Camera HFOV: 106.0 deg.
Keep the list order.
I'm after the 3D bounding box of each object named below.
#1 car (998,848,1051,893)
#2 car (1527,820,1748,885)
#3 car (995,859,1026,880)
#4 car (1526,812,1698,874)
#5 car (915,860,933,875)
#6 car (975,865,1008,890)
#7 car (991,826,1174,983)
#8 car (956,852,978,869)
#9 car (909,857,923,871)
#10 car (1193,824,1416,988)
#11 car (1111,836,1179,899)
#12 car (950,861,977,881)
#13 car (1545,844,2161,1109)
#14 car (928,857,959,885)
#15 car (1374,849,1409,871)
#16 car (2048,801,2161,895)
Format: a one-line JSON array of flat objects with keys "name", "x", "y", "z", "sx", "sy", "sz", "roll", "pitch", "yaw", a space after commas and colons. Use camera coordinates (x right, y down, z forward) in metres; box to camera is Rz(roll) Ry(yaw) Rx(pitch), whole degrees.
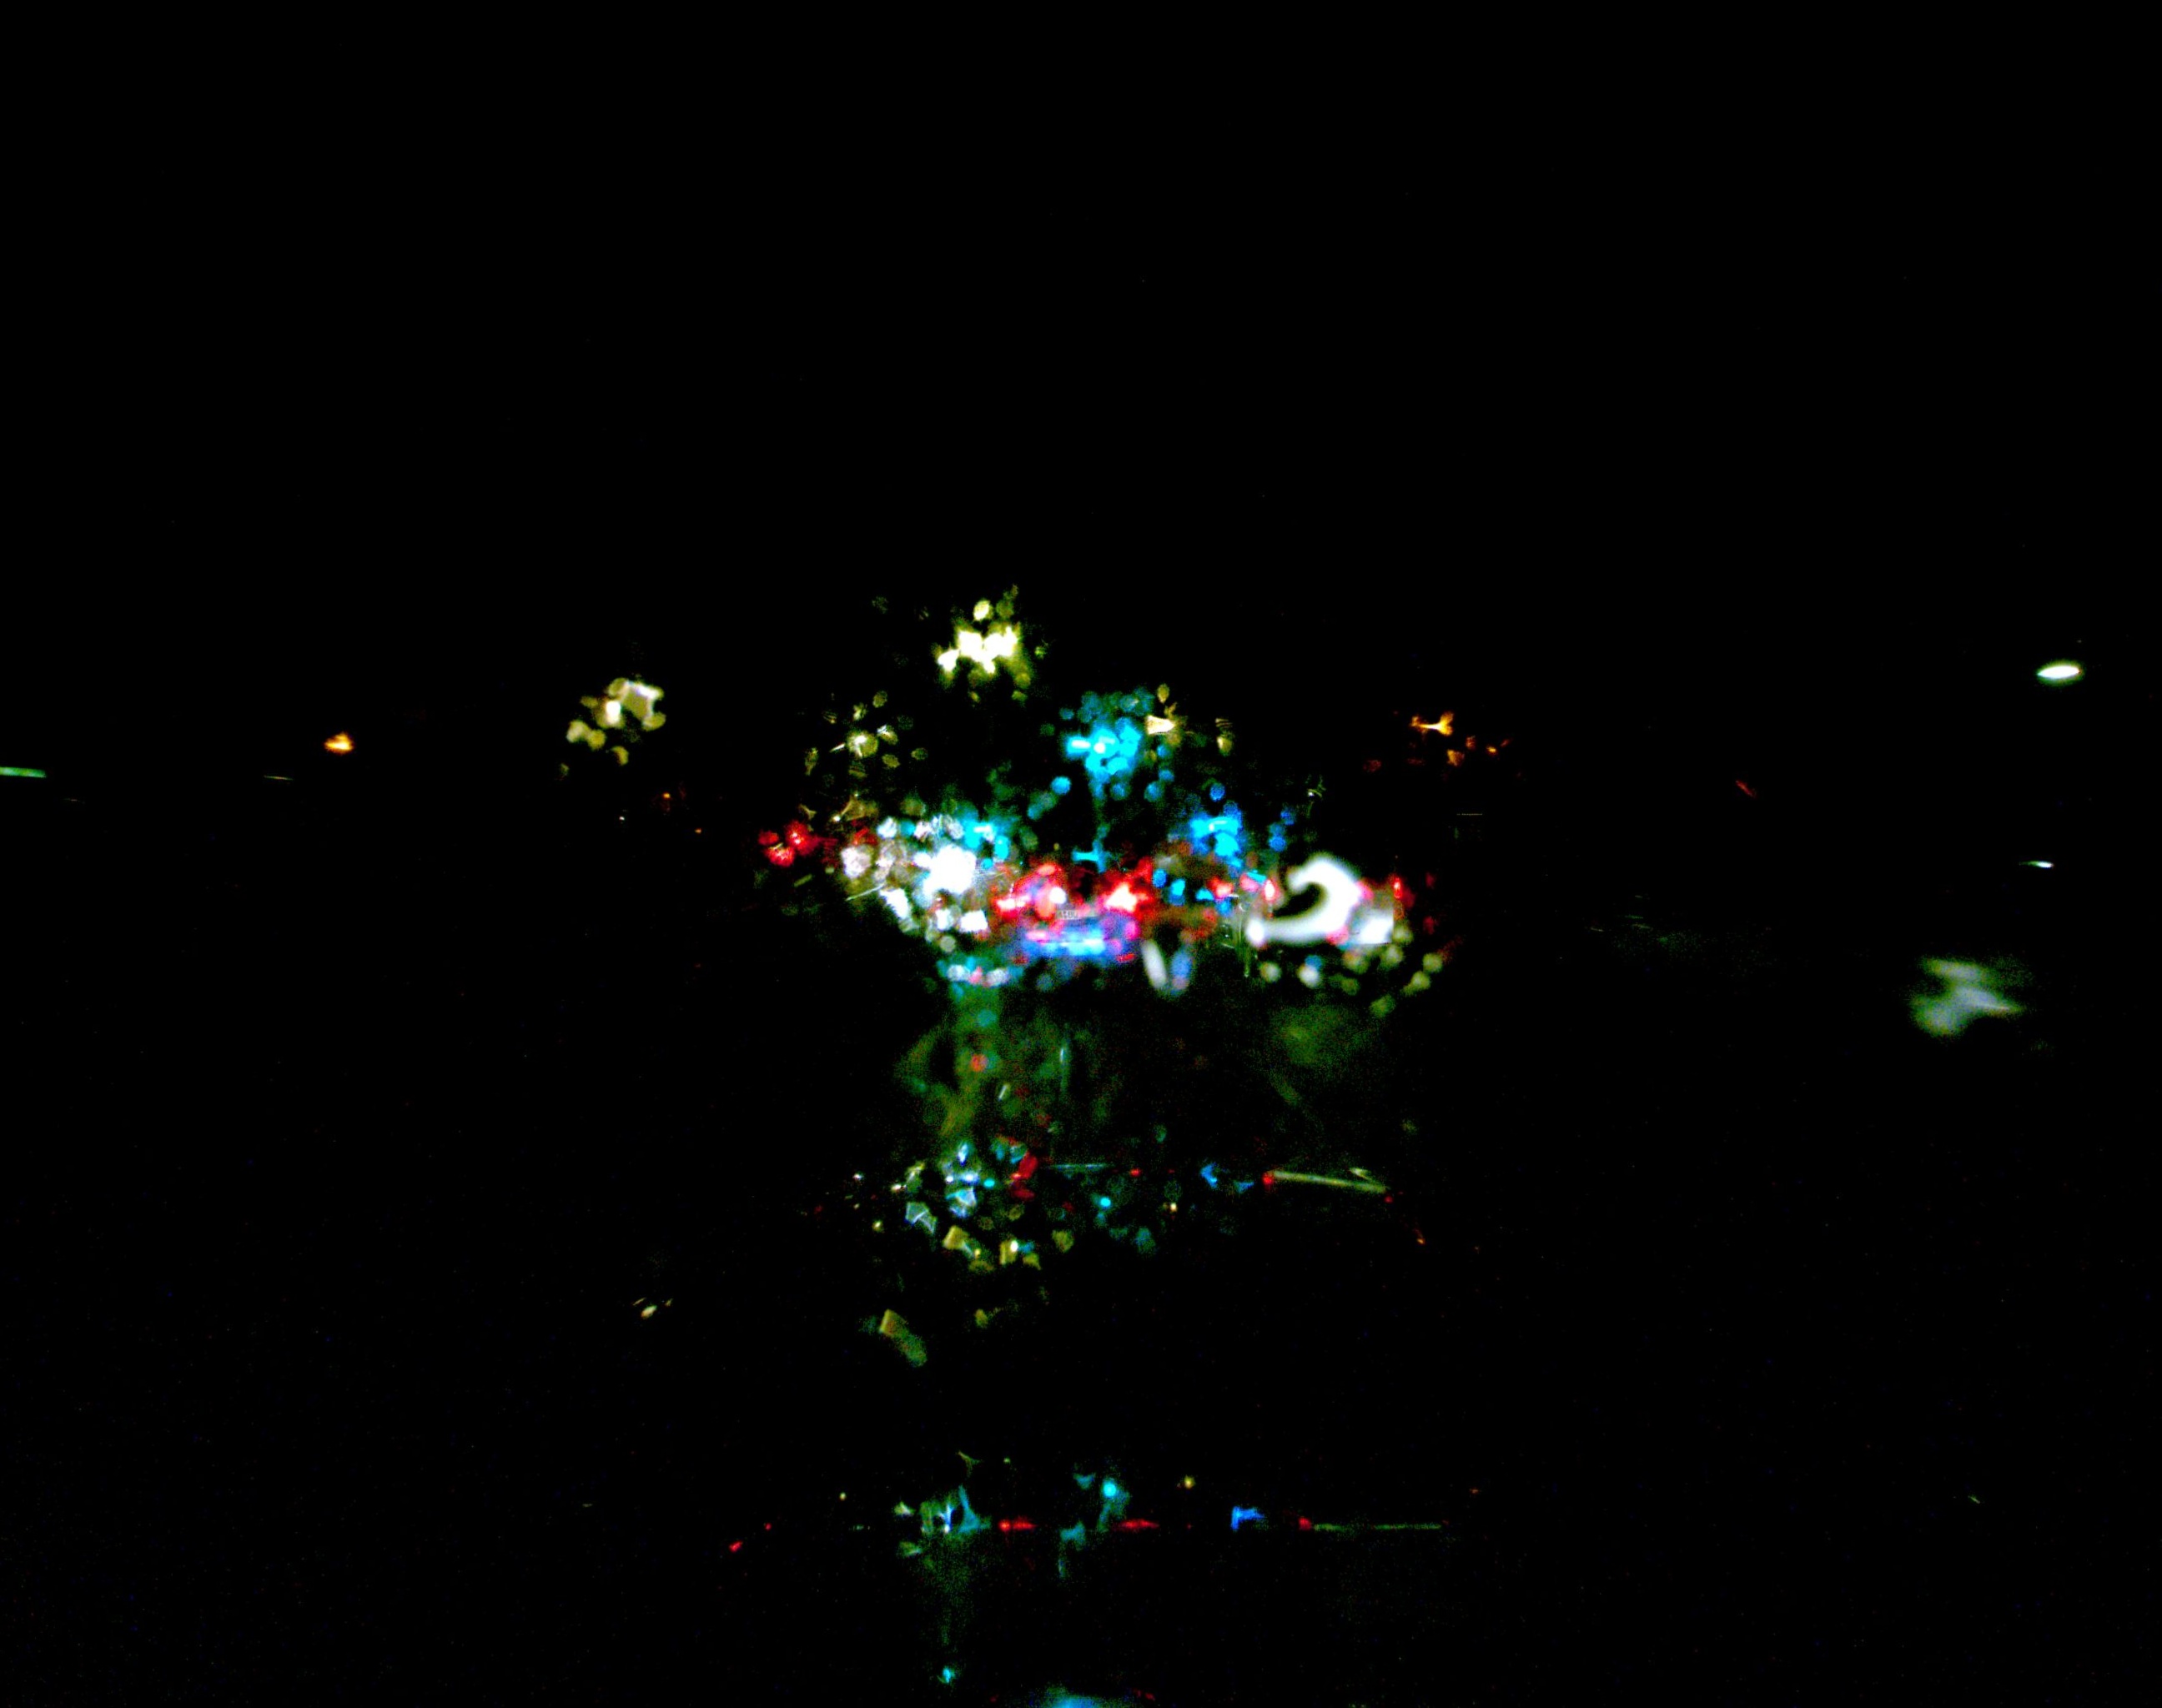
[{"name": "car", "x": -2.704, "y": 0.740, "z": 38.120, "sx": 1.994, "sy": 2.014, "sz": 3.984, "roll": 0, "pitch": -1, "yaw": -11}, {"name": "car", "x": 13.422, "y": -0.018, "z": 19.965, "sx": 4.286, "sy": 1.460, "sz": 1.863, "roll": 0, "pitch": -1, "yaw": 30}, {"name": "car", "x": -5.847, "y": 1.220, "z": 67.126, "sx": 1.996, "sy": 1.670, "sz": 3.982, "roll": 0, "pitch": -1, "yaw": -13}, {"name": "car", "x": 14.498, "y": -0.271, "z": 22.483, "sx": 3.838, "sy": 1.574, "sz": 1.845, "roll": 0, "pitch": -1, "yaw": 30}, {"name": "car", "x": -19.641, "y": 1.637, "z": 101.864, "sx": 1.997, "sy": 1.824, "sz": 3.980, "roll": 0, "pitch": -1, "yaw": -14}, {"name": "car", "x": -6.542, "y": 1.679, "z": 58.930, "sx": 1.995, "sy": 1.732, "sz": 3.983, "roll": 0, "pitch": -1, "yaw": -12}, {"name": "car", "x": -0.059, "y": 0.569, "z": 11.173, "sx": 2.009, "sy": 1.717, "sz": 4.448, "roll": 0, "pitch": 0, "yaw": -2}, {"name": "car", "x": -12.485, "y": 0.695, "z": 88.766, "sx": 1.996, "sy": 1.820, "sz": 3.981, "roll": 0, "pitch": -1, "yaw": -14}, {"name": "car", "x": -24.512, "y": 1.508, "z": 121.039, "sx": 1.995, "sy": 2.014, "sz": 3.983, "roll": 0, "pitch": -1, "yaw": -12}, {"name": "car", "x": 2.851, "y": 0.602, "z": 11.455, "sx": 1.847, "sy": 1.865, "sz": 4.338, "roll": 0, "pitch": 0, "yaw": -2}, {"name": "car", "x": 2.150, "y": 0.459, "z": 28.456, "sx": 1.963, "sy": 2.047, "sz": 3.997, "roll": 0, "pitch": -1, "yaw": -2}, {"name": "car", "x": -11.249, "y": 1.581, "z": 77.816, "sx": 1.998, "sy": 1.824, "sz": 3.977, "roll": 0, "pitch": -1, "yaw": -17}, {"name": "car", "x": 5.914, "y": 0.676, "z": 6.697, "sx": 1.779, "sy": 1.442, "sz": 4.238, "roll": -2, "pitch": 0, "yaw": 0}, {"name": "car", "x": -10.014, "y": 1.229, "z": 59.178, "sx": 2.016, "sy": 1.887, "sz": 4.433, "roll": 0, "pitch": 0, "yaw": -12}, {"name": "car", "x": 23.890, "y": 0.470, "z": 62.725, "sx": 1.762, "sy": 1.669, "sz": 4.080, "roll": 0, "pitch": 0, "yaw": 9}, {"name": "car", "x": 17.897, "y": -0.095, "z": 12.586, "sx": 1.706, "sy": 1.483, "sz": 4.730, "roll": 0, "pitch": -1, "yaw": 20}]
